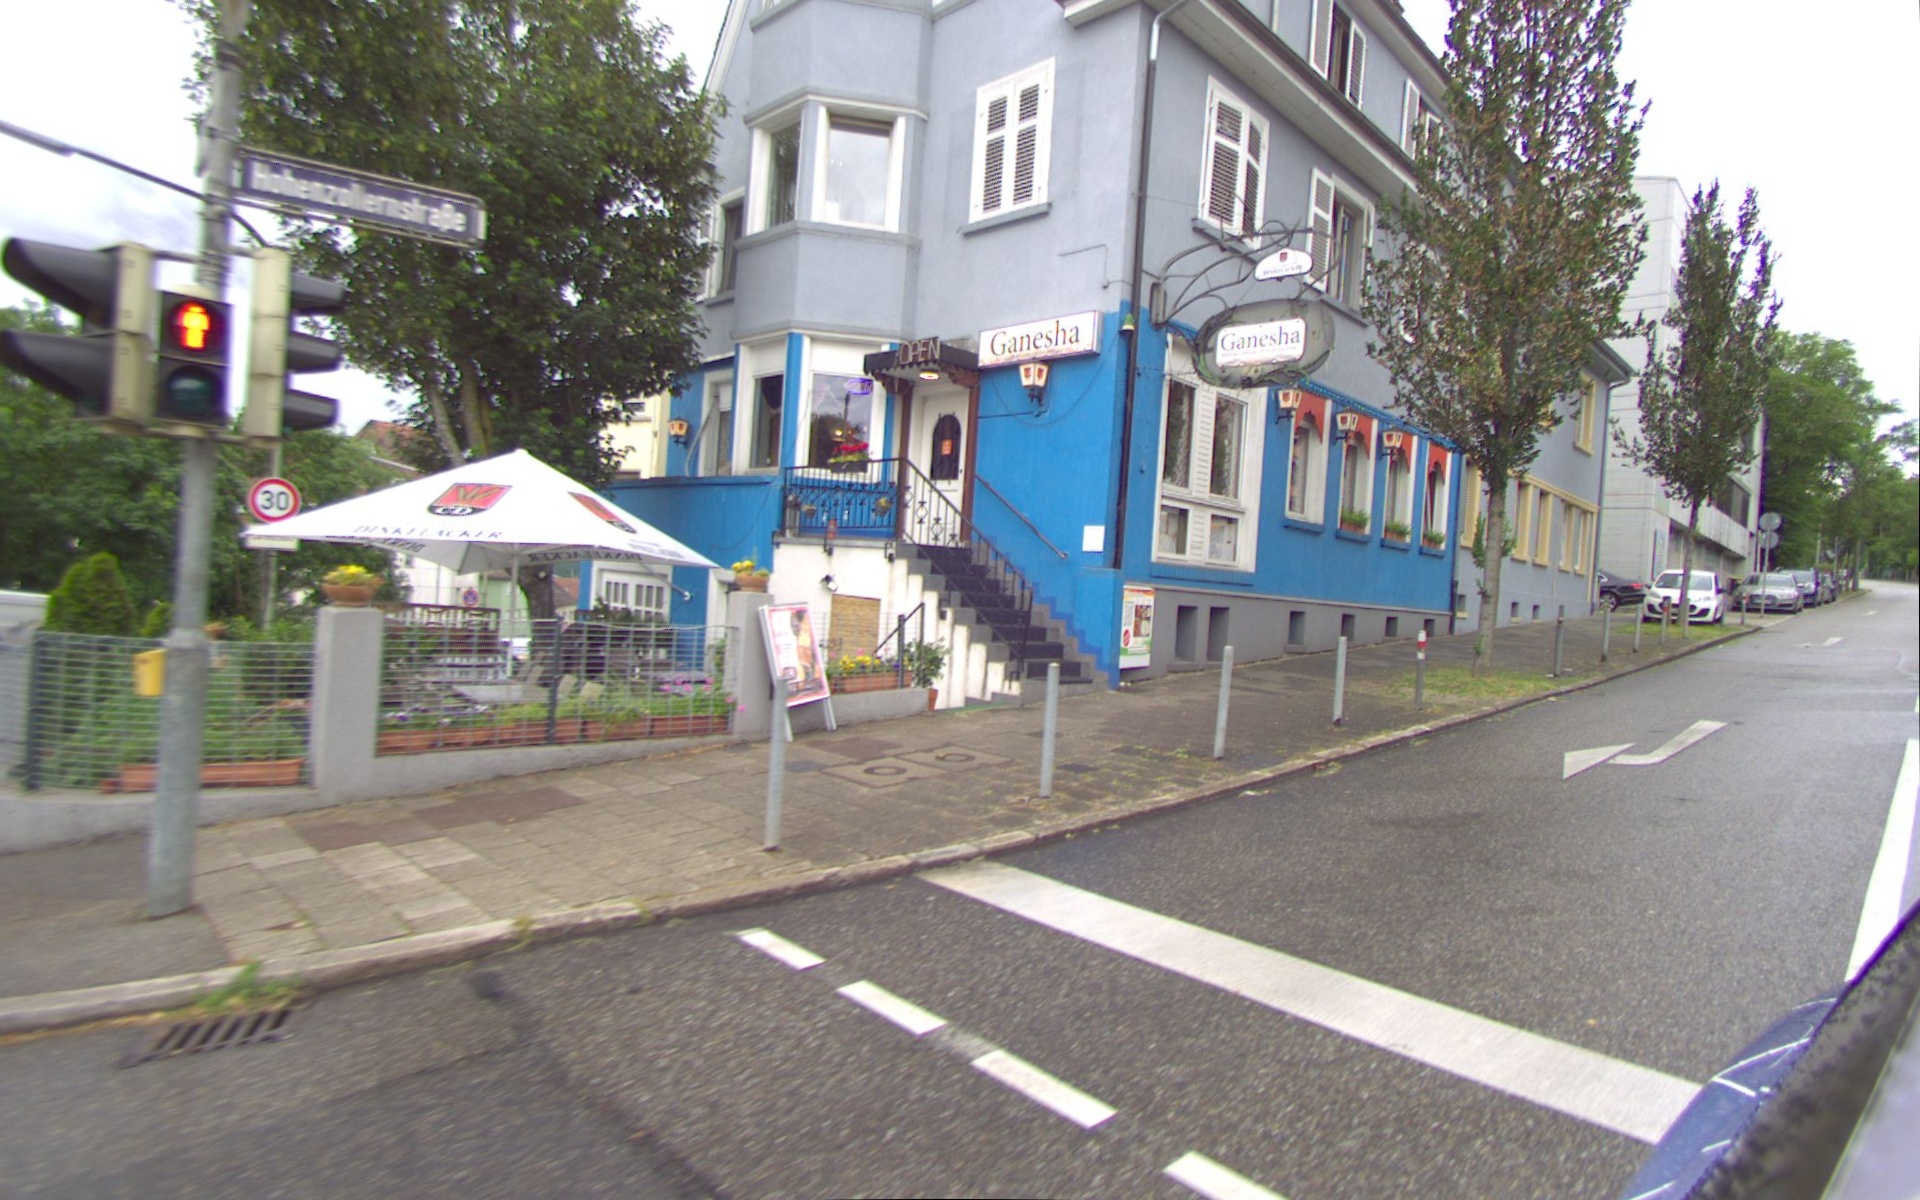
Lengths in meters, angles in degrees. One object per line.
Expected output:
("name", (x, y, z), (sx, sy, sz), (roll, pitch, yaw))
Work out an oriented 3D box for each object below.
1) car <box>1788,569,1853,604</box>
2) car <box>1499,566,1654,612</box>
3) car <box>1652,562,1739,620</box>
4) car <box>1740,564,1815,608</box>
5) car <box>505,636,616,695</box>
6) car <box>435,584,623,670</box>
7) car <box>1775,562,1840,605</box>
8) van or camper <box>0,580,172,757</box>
("car", (39.666, -0.645, 46.632), (4.027, 1.461, 1.710), (-1, 4, -42))
("car", (20.753, -0.404, 34.275), (4.331, 1.424, 1.790), (2, 3, 30))
("car", (20.234, -0.268, 27.788), (1.586, 1.429, 3.405), (4, 4, 41))
("car", (30.291, -0.560, 37.451), (1.815, 1.477, 4.669), (4, 4, 43))
("car", (-16.666, 2.793, 42.447), (4.087, 2.264, 1.944), (3, -7, -17))
("car", (-8.310, 0.504, 19.556), (3.083, 1.517, 1.639), (0, -2, -36))
("car", (36.017, -0.734, 42.977), (1.746, 1.694, 4.275), (4, 4, 44))
("van or camper", (-14.194, 0.935, 14.876), (2.066, 2.356, 5.426), (3, -3, -15))
